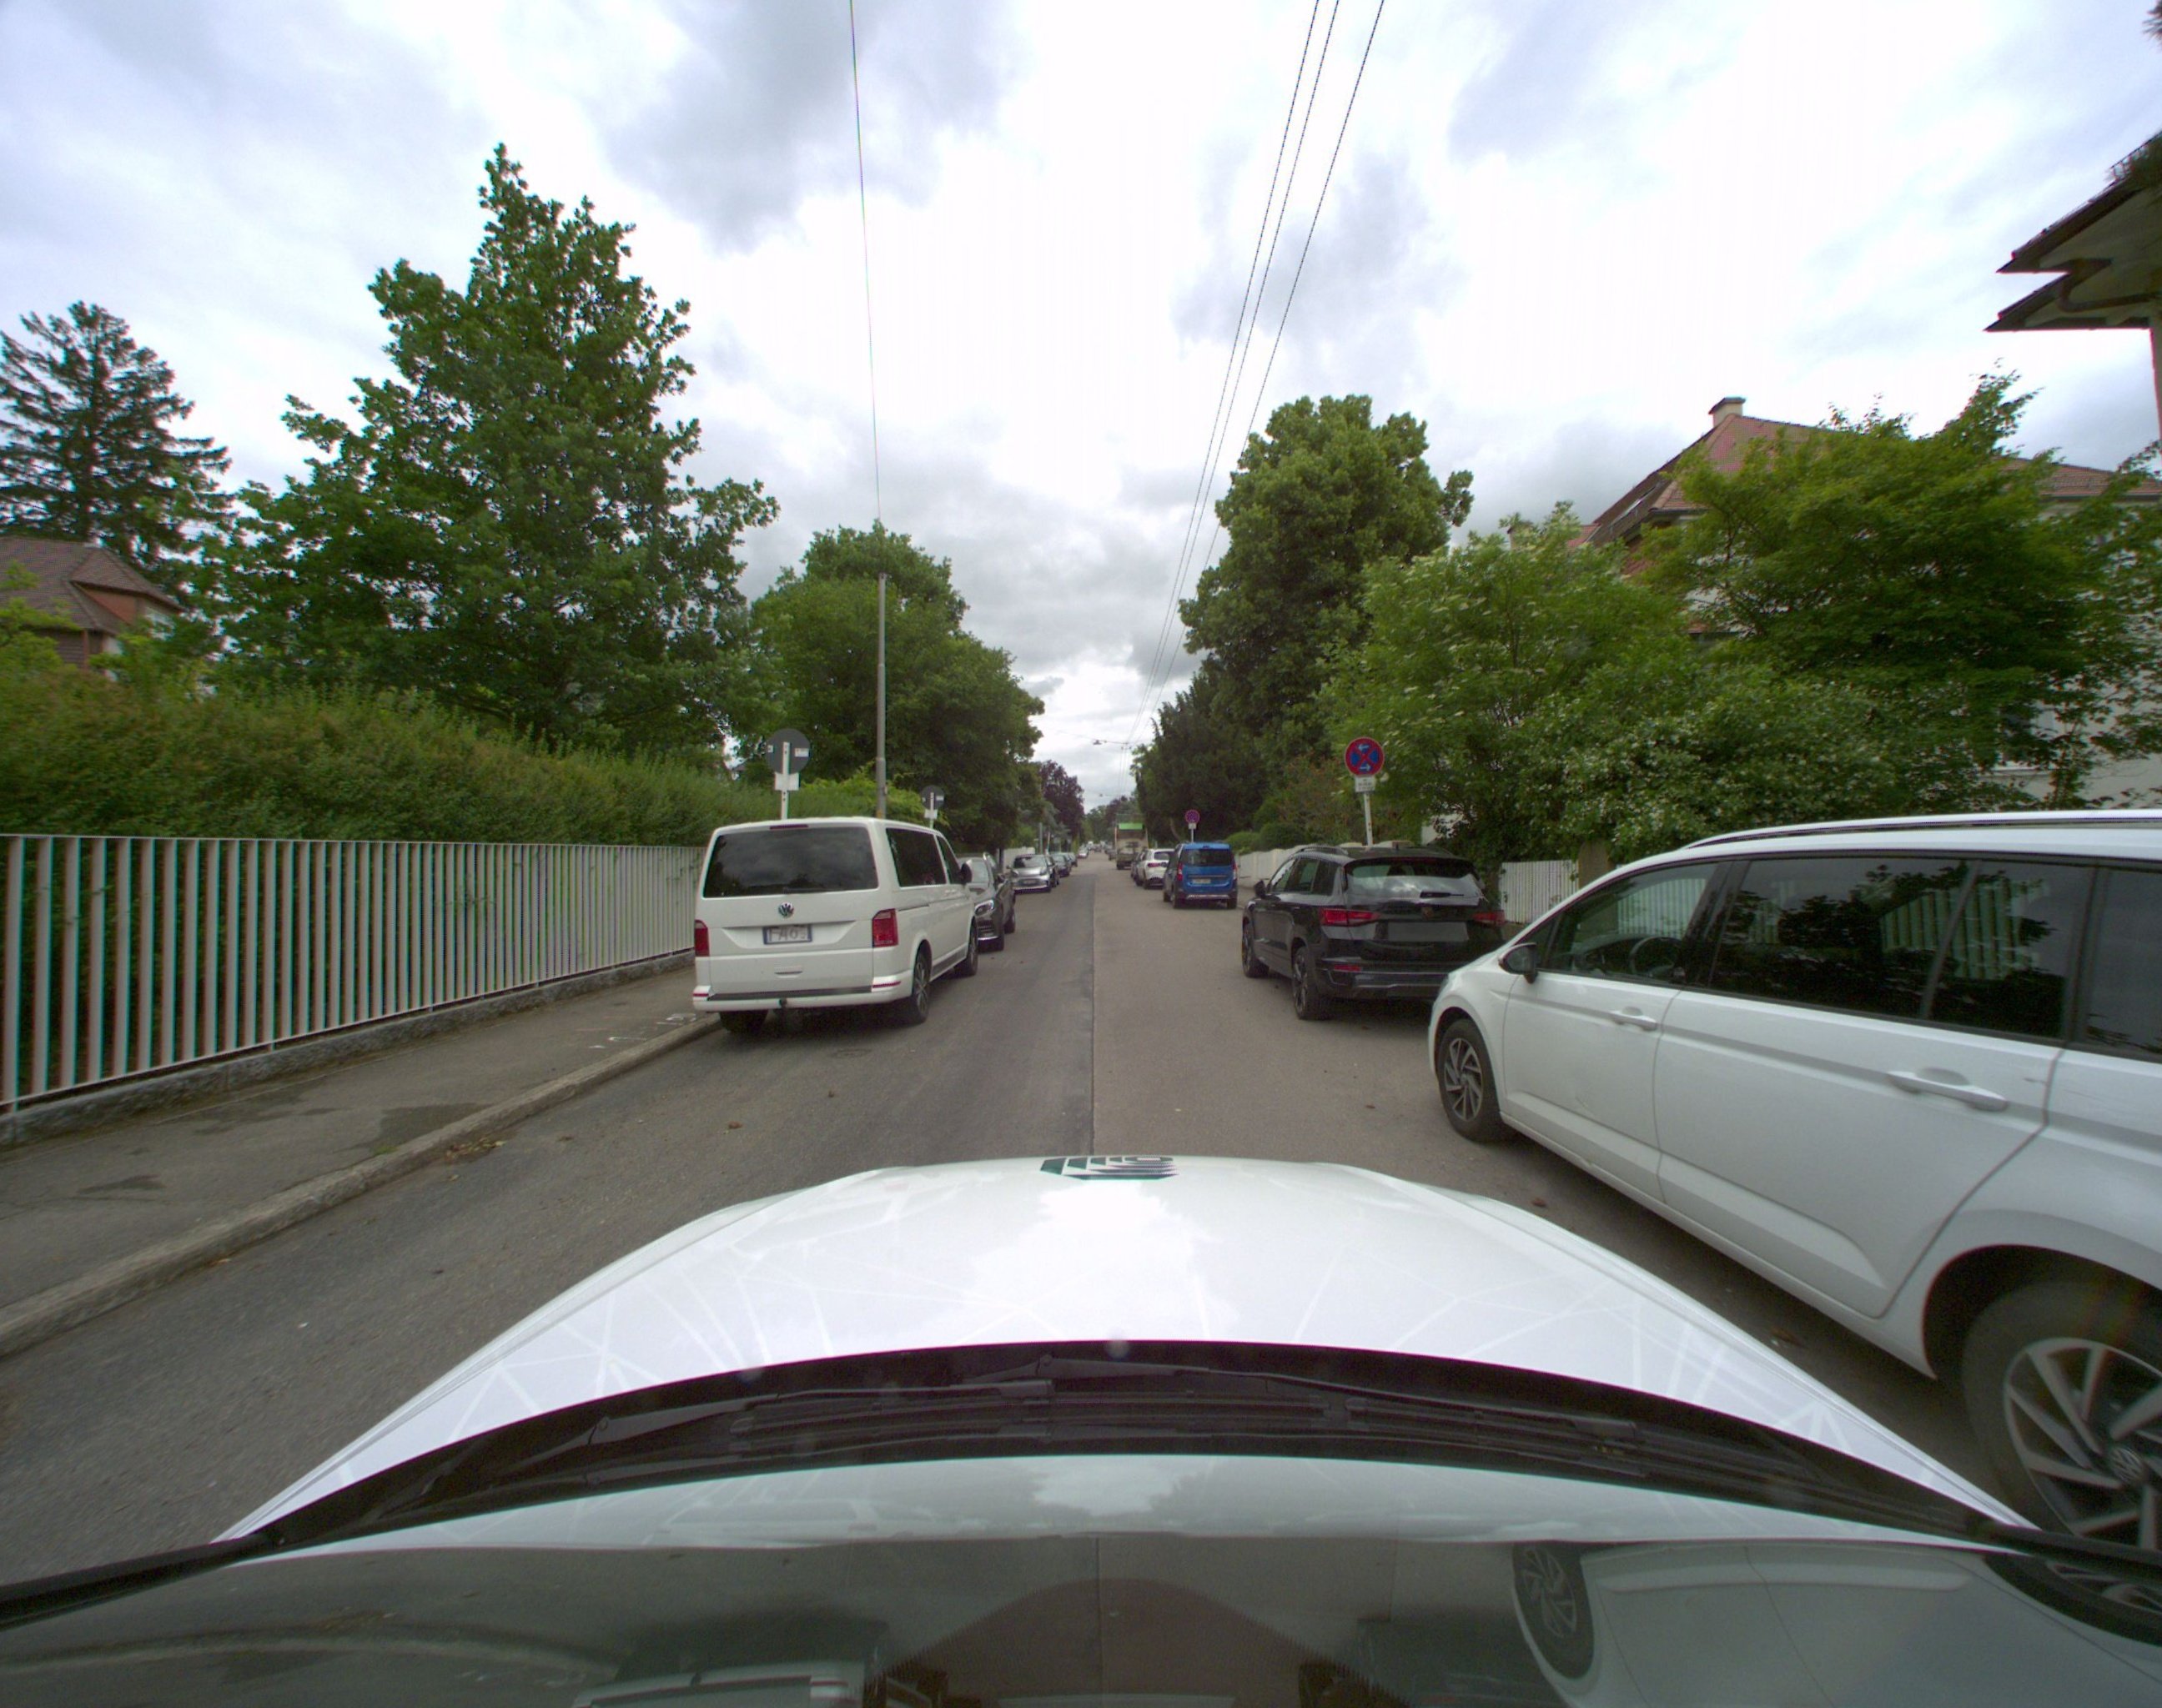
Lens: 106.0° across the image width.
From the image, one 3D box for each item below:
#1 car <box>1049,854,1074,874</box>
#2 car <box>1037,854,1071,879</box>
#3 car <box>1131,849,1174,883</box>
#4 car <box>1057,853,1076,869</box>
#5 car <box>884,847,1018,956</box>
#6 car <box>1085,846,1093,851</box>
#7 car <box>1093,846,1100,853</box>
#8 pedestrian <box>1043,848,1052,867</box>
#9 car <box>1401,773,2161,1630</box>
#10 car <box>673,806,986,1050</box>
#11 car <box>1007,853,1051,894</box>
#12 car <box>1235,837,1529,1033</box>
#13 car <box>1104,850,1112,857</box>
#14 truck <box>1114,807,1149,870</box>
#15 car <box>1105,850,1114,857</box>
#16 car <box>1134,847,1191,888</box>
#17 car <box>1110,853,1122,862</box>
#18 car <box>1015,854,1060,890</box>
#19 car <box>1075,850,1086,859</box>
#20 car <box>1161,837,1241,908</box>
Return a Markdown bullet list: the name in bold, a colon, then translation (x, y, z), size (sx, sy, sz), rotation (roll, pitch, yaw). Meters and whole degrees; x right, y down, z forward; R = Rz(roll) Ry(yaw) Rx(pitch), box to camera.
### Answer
- **car**: translation (-1.463, 0.740, 62.798), size (1.590, 1.433, 4.002), rotation (-3, 0, 2)
- **car**: translation (-1.630, 0.734, 50.996), size (1.634, 1.422, 4.553), rotation (-3, 0, 3)
- **car**: translation (3.508, 0.566, 40.423), size (1.693, 1.570, 4.307), rotation (-1, 0, -1)
- **car**: translation (-1.382, 0.672, 78.137), size (1.632, 1.395, 3.988), rotation (-3, 0, 0)
- **car**: translation (-2.203, 0.743, 14.928), size (1.786, 1.623, 4.341), rotation (-2, 0, -1)
- **car**: translation (2.301, -1.632, 230.504), size (1.720, 1.407, 3.809), rotation (-1, 0, 5)
- **car**: translation (3.779, -1.147, 201.225), size (1.628, 1.701, 3.494), rotation (0, 0, 0)
- **pedestrian**: translation (-3.499, 0.356, 84.320), size (0.850, 2.014, 0.700), rotation (1, -1, -4)
- **car**: translation (2.919, 0.669, 3.009), size (1.779, 1.603, 4.303), rotation (1, 0, 0)
- **car**: translation (-2.356, 0.638, 9.056), size (1.848, 1.913, 4.620), rotation (-3, -1, 1)
- **car**: translation (-2.096, 0.755, 33.444), size (1.618, 1.533, 2.960), rotation (-3, 0, -2)
- **car**: translation (2.903, 0.700, 8.843), size (1.744, 1.608, 4.076), rotation (1, -1, 1)
- **car**: translation (6.165, -0.186, 186.980), size (1.782, 1.529, 3.736), rotation (-1, 0, 2)
- **truck**: translation (3.933, -1.175, 64.826), size (2.515, 4.748, 7.190), rotation (0, 0, 2)
- **car**: translation (6.278, -0.077, 178.111), size (1.804, 1.335, 3.632), rotation (0, 1, 0)
- **car**: translation (3.349, 0.546, 34.192), size (1.753, 1.606, 4.571), rotation (0, 0, -2)
- **car**: translation (5.805, 0.607, 134.574), size (1.773, 1.489, 3.999), rotation (-1, 0, 0)
- **car**: translation (-1.976, 0.788, 37.884), size (1.649, 1.481, 3.889), rotation (-4, 0, 2)
- **car**: translation (-0.053, 0.134, 154.531), size (1.704, 1.586, 4.004), rotation (-1, 0, 4)
- **car**: translation (3.334, 0.481, 23.341), size (1.677, 1.829, 4.157), rotation (1, 0, 0)
